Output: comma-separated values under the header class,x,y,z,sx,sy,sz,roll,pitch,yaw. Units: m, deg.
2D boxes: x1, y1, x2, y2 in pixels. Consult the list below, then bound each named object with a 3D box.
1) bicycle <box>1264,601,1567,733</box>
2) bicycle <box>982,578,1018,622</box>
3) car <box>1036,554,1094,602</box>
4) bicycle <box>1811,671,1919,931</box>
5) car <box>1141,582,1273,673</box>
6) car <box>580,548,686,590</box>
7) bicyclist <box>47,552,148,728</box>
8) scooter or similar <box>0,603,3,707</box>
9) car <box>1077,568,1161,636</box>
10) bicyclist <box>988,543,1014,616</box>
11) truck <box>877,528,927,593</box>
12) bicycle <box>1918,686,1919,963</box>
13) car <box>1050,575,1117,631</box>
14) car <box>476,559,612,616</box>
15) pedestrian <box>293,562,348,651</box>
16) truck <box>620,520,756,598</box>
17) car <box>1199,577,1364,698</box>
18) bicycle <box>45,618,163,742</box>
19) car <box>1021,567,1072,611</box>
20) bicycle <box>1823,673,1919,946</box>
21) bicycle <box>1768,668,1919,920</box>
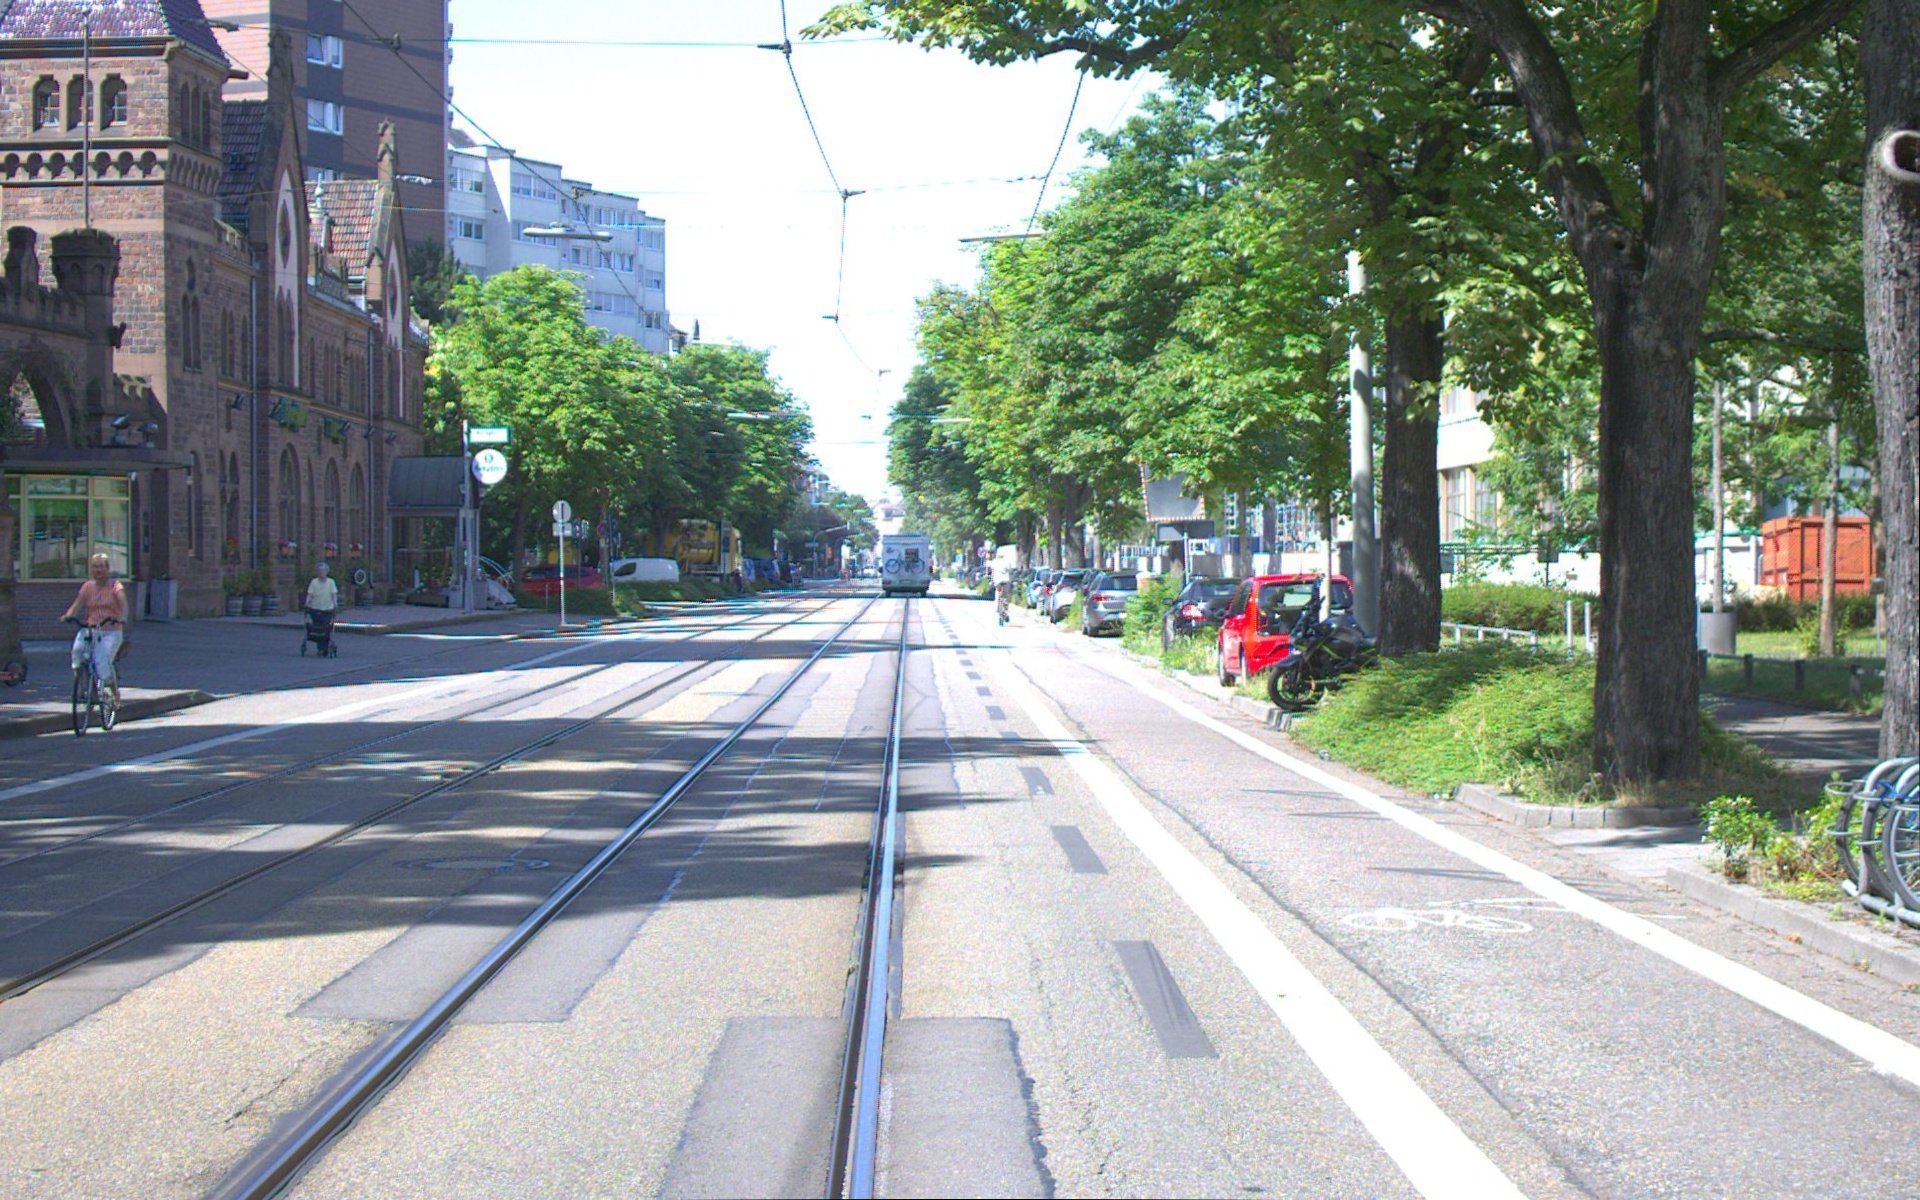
class,x,y,z,sx,sy,sz,roll,pitch,yaw
bicycle,4.682,0.680,35.526,3.028,1.327,1.041,0,0,3
bicycle,1.034,-0.005,88.622,0.855,1.106,2.139,0,1,-1
car,3.228,-0.701,106.699,1.630,1.467,4.114,0,1,-1
bicycle,4.587,0.852,14.794,1.724,1.082,0.478,0,1,-1
car,3.878,0.411,54.502,1.629,1.350,3.902,0,1,-3
car,-13.798,-1.326,144.998,3.987,1.744,2.000,0,1,-31
bicyclist,-8.459,0.382,33.744,0.725,1.693,1.147,0,0,-1
scooter or similar,-10.850,0.596,36.813,0.333,1.125,1.184,0,0,38
car,3.508,0.023,76.184,1.630,1.467,4.114,0,1,-1
bicyclist,1.062,-0.525,88.641,0.636,1.865,1.024,0,1,-1
truck,-2.829,-1.914,167.246,2.402,3.098,6.037,0,1,-1
bicycle,4.614,0.876,13.166,1.724,1.082,0.589,0,1,-1
car,3.355,0.052,94.077,1.630,1.467,4.114,0,1,-1
car,-13.538,-0.414,111.908,3.988,1.804,1.889,0,1,-38
pedestrian,-10.922,0.106,58.748,0.883,1.507,1.476,0,0,-9
truck,-13.684,-2.058,173.901,2.816,3.846,9.989,0,1,21
car,4.130,0.453,44.647,1.629,1.467,3.720,0,1,-3
bicycle,-8.388,0.764,33.766,0.662,1.150,2.014,0,0,0
car,2.991,-0.396,119.693,1.630,1.467,4.114,0,1,-1
bicycle,4.522,0.853,14.255,1.724,1.082,0.615,0,1,-1
bicycle,4.514,0.851,15.278,1.724,1.082,0.478,0,1,-1
